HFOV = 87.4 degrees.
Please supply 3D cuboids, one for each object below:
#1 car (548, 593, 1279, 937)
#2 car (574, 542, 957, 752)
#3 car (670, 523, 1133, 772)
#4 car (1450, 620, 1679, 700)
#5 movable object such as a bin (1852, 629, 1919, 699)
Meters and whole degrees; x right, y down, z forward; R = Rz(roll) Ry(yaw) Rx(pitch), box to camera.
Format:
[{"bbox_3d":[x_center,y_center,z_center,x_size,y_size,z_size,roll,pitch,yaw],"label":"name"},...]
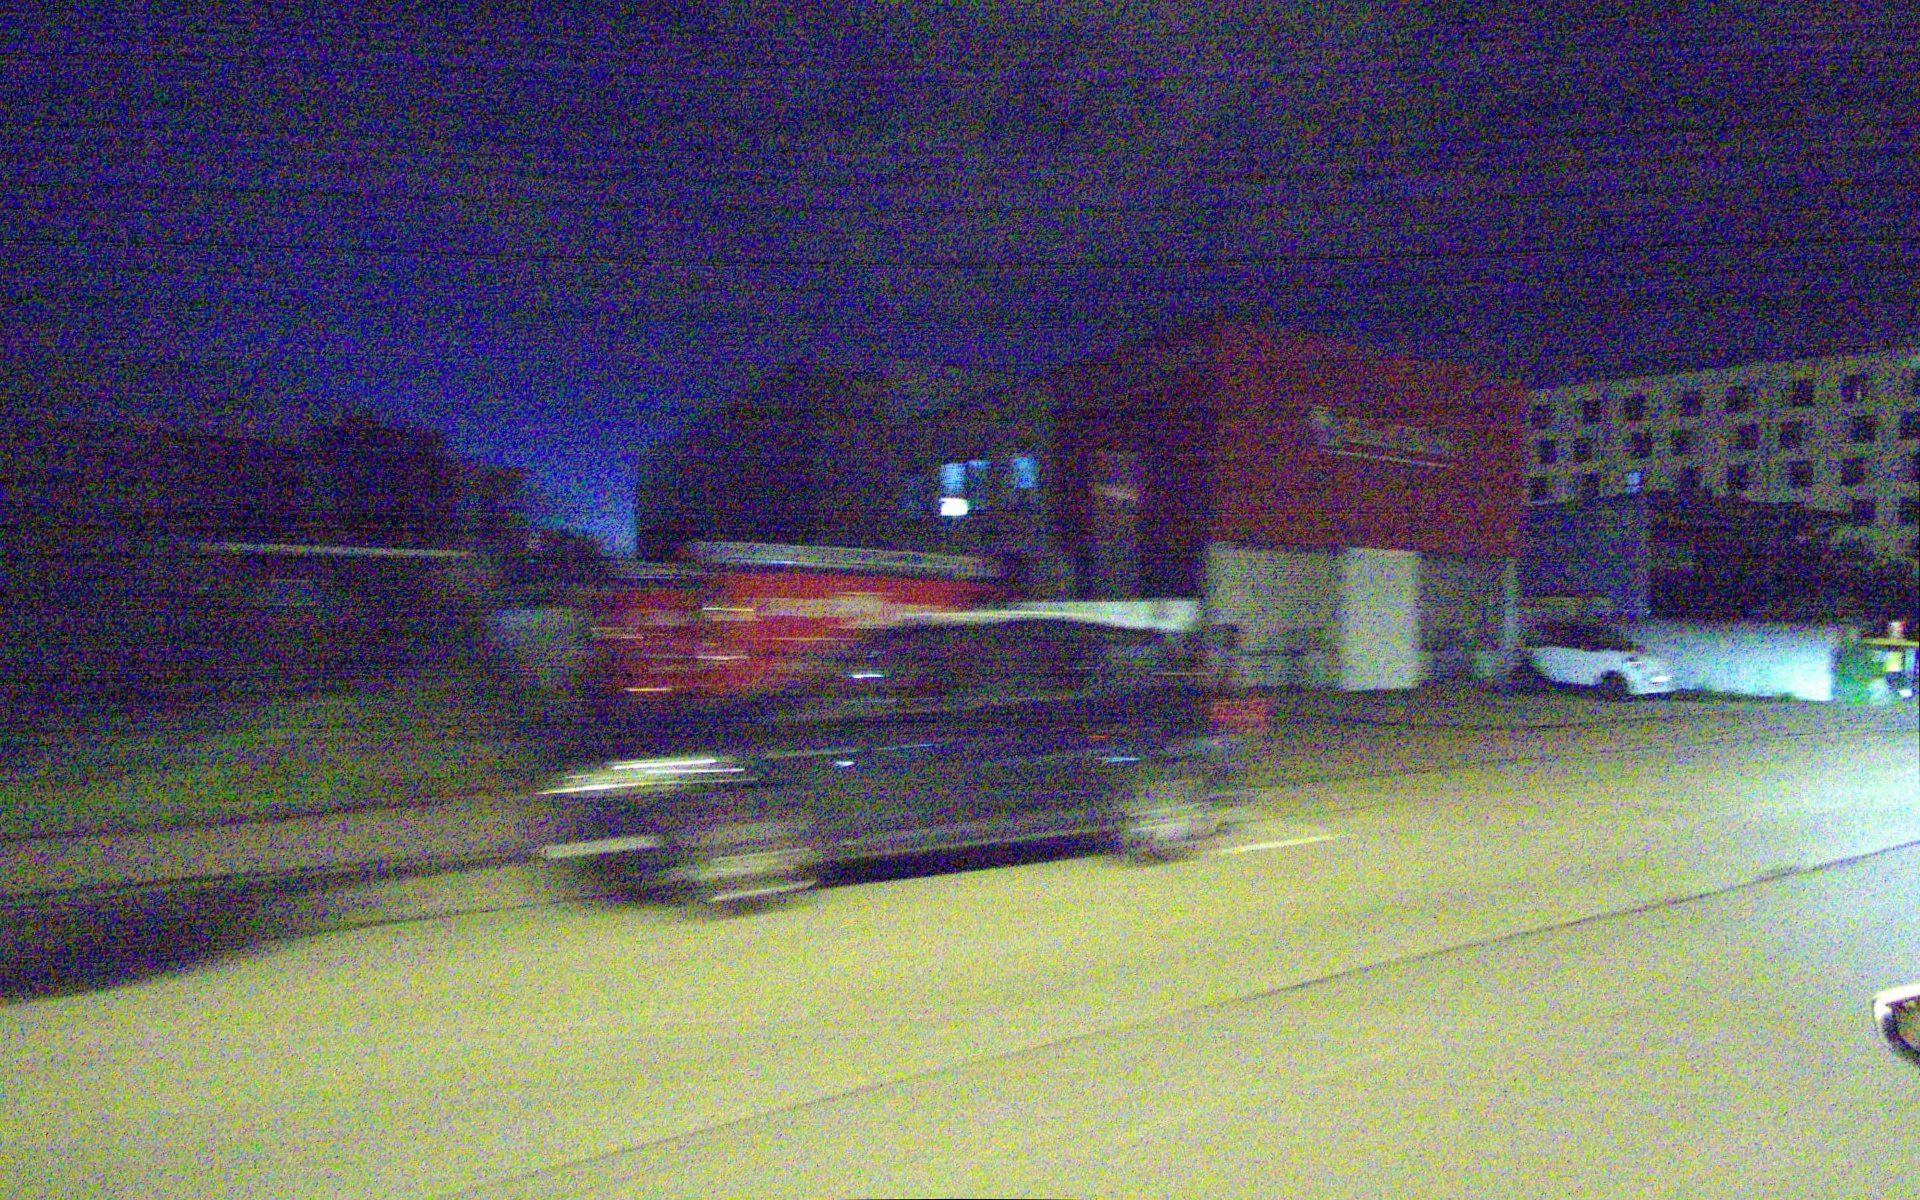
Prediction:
[{"bbox_3d":[-0.210,0.815,6.312,4.268,1.546,1.749,1,-2,-28],"label":"car"},{"bbox_3d":[-2.557,0.592,13.223,4.562,2.352,2.201,1,-2,-26],"label":"car"},{"bbox_3d":[-0.627,0.537,11.461,4.900,2.352,1.988,1,-3,-26],"label":"car"},{"bbox_3d":[13.108,1.262,22.037,1.795,1.591,3.970,1,-2,-29],"label":"car"},{"bbox_3d":[21.126,1.430,22.726,1.054,1.515,1.158,1,-1,-32],"label":"movable object such as a bin"}]
